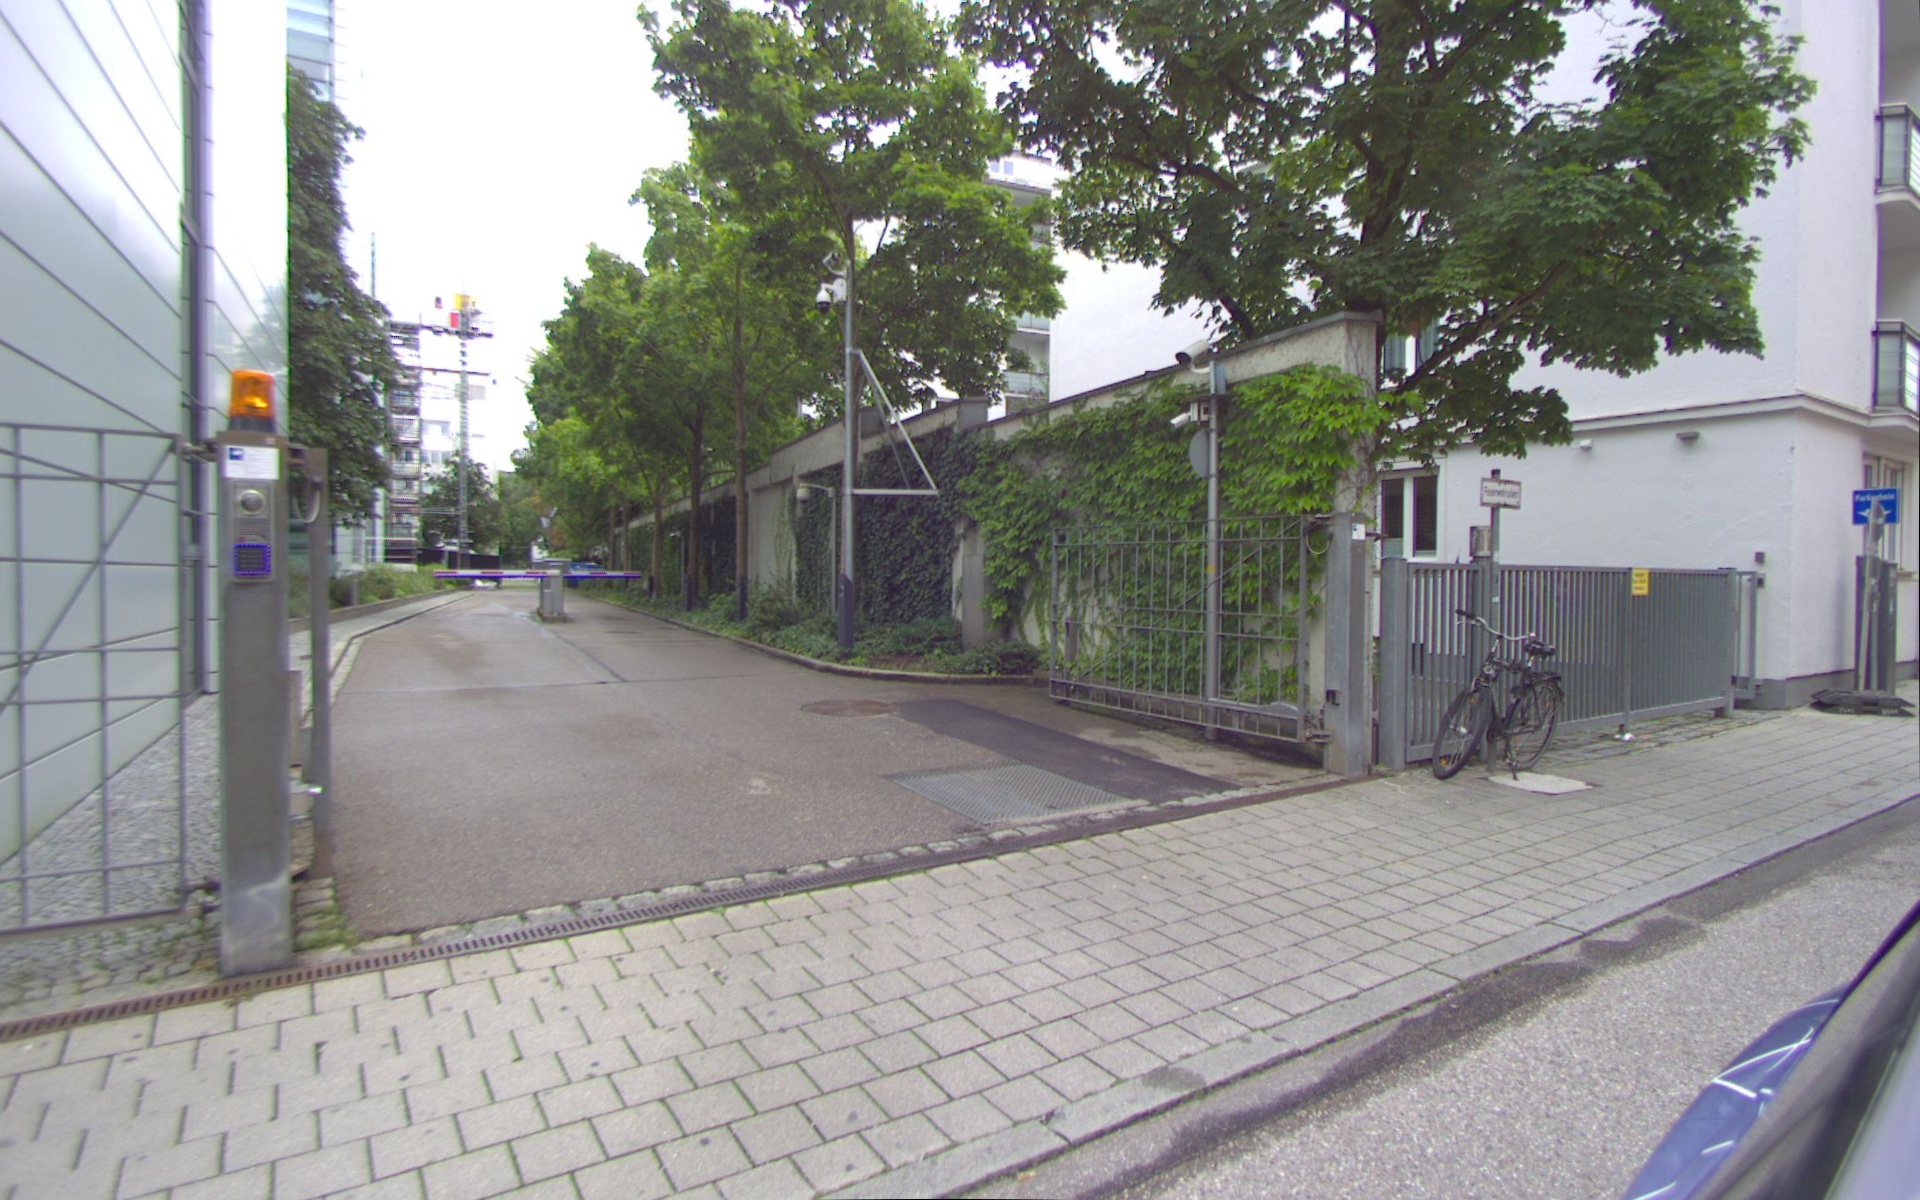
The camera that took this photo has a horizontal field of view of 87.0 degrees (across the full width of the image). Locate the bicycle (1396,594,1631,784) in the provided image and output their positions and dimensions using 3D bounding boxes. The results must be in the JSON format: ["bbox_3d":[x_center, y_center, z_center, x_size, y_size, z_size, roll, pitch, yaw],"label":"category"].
[{"bbox_3d":[4.034,0.605,7.330,1.798,1.213,0.710,3,0,-34],"label":"bicycle"}]
